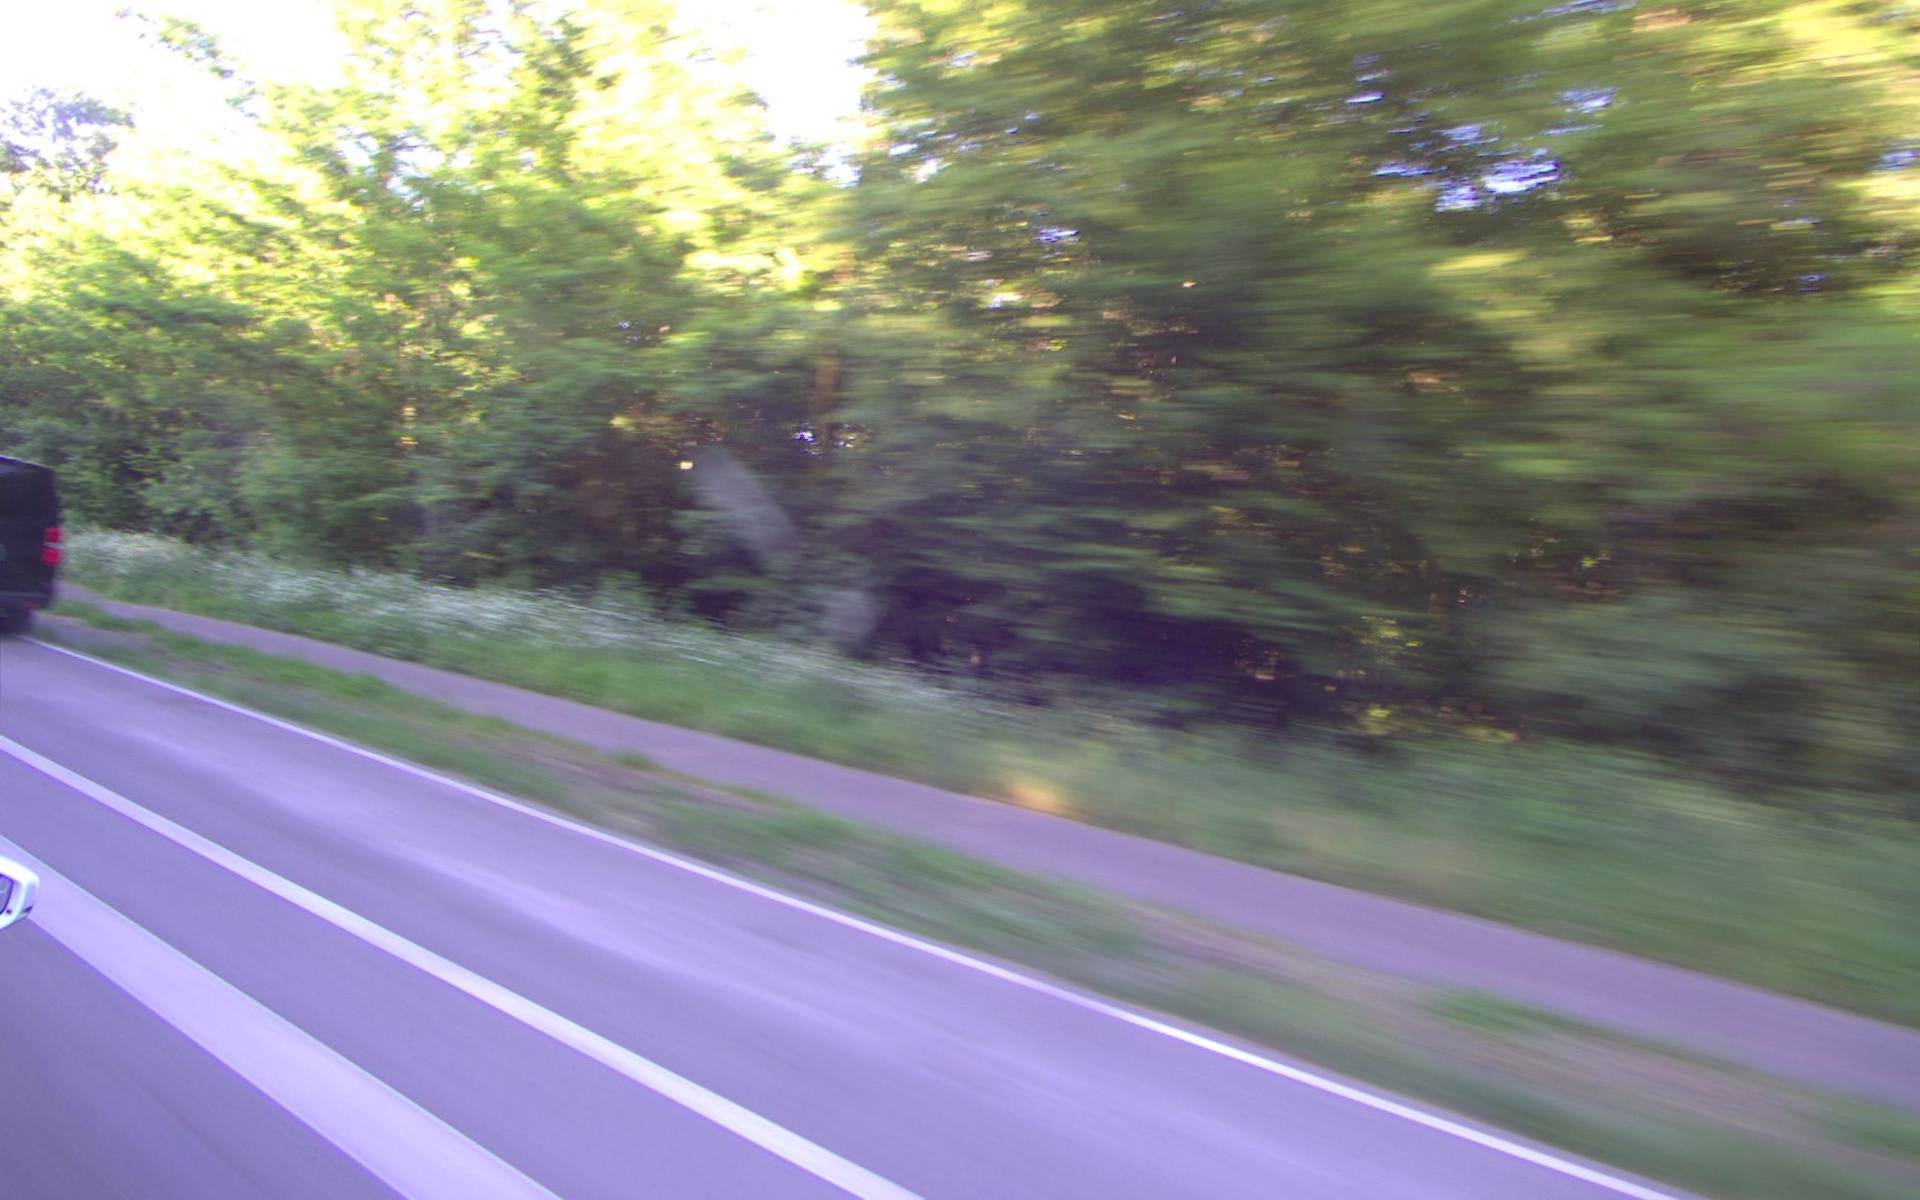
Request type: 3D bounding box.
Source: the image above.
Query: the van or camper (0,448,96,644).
[{"bbox_3d":[-12.137,-0.858,11.358,5.112,1.954,1.998,7,-2,32],"label":"van or camper"}]
